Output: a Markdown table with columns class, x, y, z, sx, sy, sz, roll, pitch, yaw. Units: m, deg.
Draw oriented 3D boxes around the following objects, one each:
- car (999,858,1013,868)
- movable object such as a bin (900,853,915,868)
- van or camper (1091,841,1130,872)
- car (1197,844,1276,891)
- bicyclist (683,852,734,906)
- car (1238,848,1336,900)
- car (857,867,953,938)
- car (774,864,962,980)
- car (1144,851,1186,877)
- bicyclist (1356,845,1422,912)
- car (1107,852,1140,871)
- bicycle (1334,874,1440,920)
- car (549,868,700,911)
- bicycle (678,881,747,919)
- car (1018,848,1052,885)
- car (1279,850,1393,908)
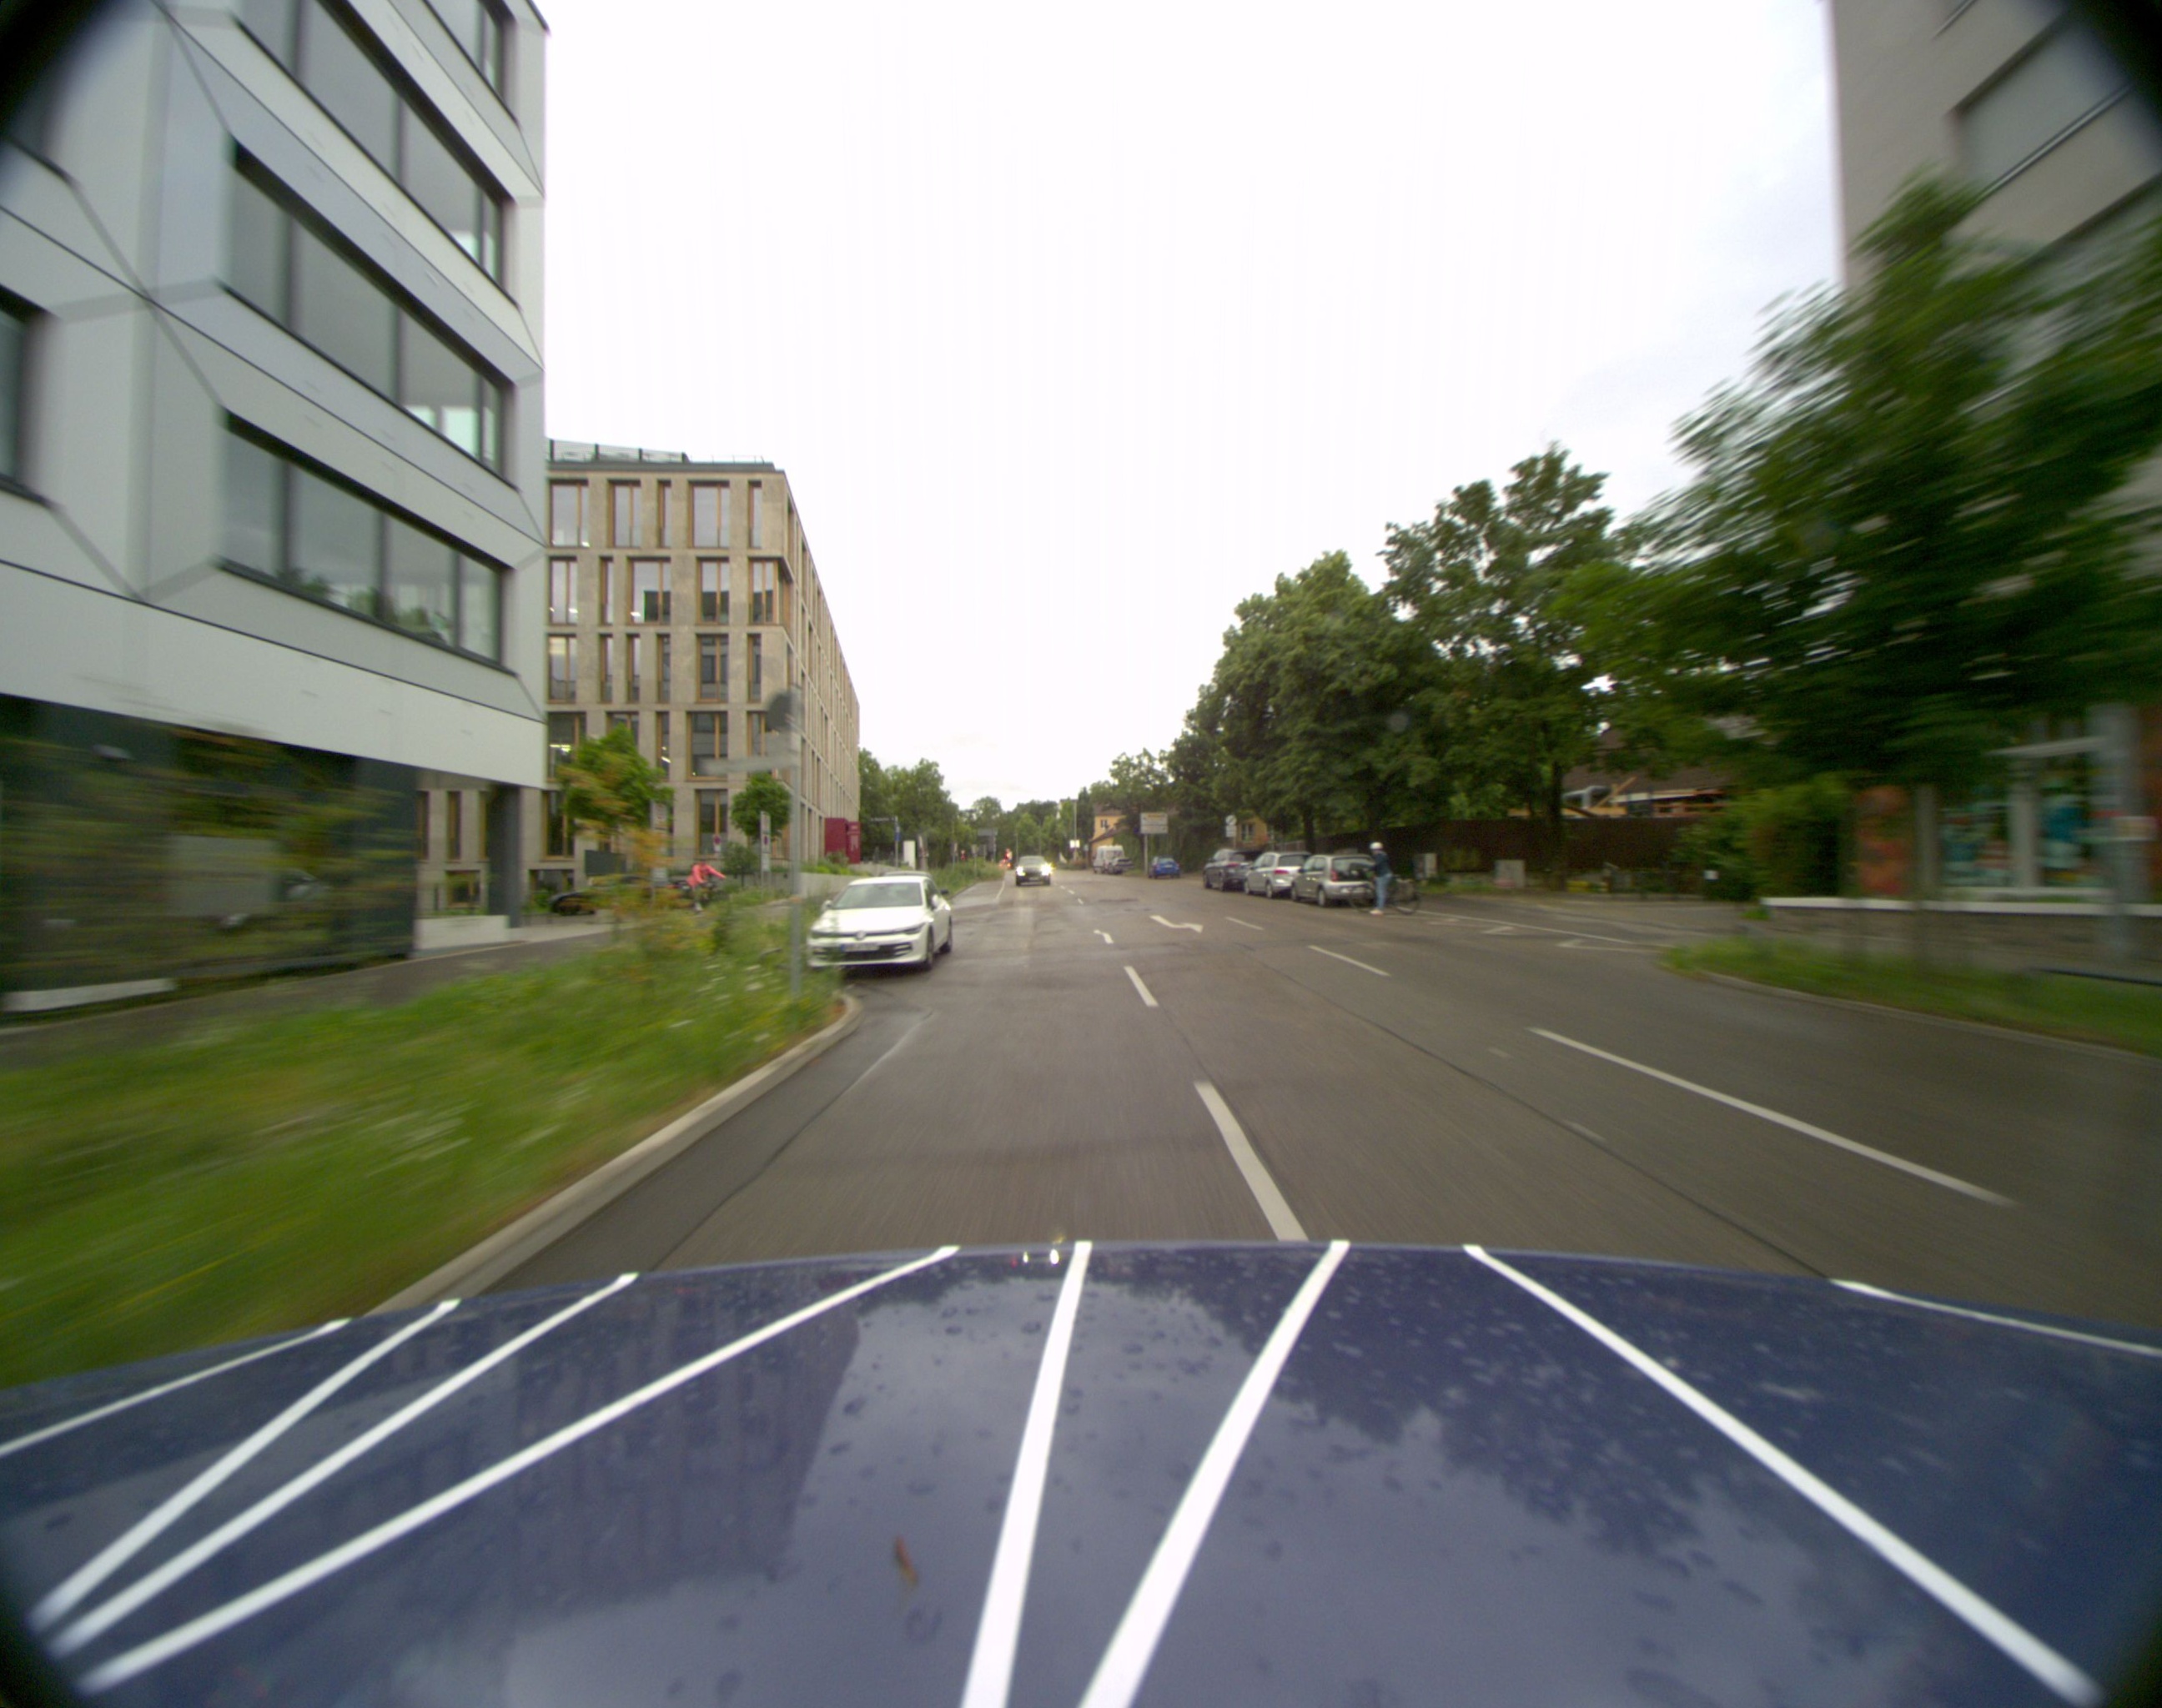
| class | x | y | z | sx | sy | sz | roll | pitch | yaw |
| --- | --- | --- | --- | --- | --- | --- | --- | --- | --- |
| car | -13.161 | 1.570 | 132.997 | 1.901 | 1.695 | 4.504 | -2 | 1 | -12 |
| movable object such as a bin | -18.234 | 0.633 | 79.817 | 1.250 | 1.450 | 1.110 | -5 | 2 | -2 |
| van or camper | 2.680 | 0.240 | 71.006 | 2.348 | 2.749 | 6.137 | -2 | 0 | -9 |
| car | 6.476 | 0.485 | 32.265 | 1.999 | 1.776 | 5.408 | -2 | 1 | -2 |
| bicyclist | -10.767 | 0.712 | 21.953 | 1.073 | 1.494 | 0.841 | -1 | 1 | 36 |
| car | 7.083 | 0.636 | 26.678 | 1.995 | 1.584 | 4.487 | -2 | 1 | -3 |
| car | -4.427 | 1.114 | 19.033 | 2.052 | 1.450 | 4.050 | -2 | 0 | -14 |
| car | -3.317 | 0.975 | 12.843 | 2.045 | 1.456 | 4.501 | -2 | 0 | -3 |
| car | 5.385 | 0.619 | 49.398 | 1.999 | 1.461 | 4.183 | -2 | 1 | -3 |
| bicyclist | 7.374 | 0.569 | 18.216 | 0.805 | 1.514 | 1.198 | -3 | 2 | -37 |
| car | 3.610 | 0.613 | 65.031 | 2.000 | 1.504 | 4.419 | -2 | 1 | -7 |
| bicycle | 7.322 | 1.002 | 18.310 | 0.806 | 0.973 | 2.248 | -3 | 1 | -38 |
| car | -16.127 | 1.232 | 27.002 | 4.241 | 1.237 | 1.728 | -2 | 1 | -4 |
| bicycle | -10.635 | 1.299 | 21.885 | 2.476 | 1.014 | 0.627 | -1 | 0 | 35 |
| car | -2.675 | 0.668 | 44.612 | 1.848 | 1.961 | 4.342 | -2 | 1 | -3 |
| car | 7.340 | 0.665 | 22.263 | 1.884 | 1.454 | 3.845 | -2 | 1 | -2 |
